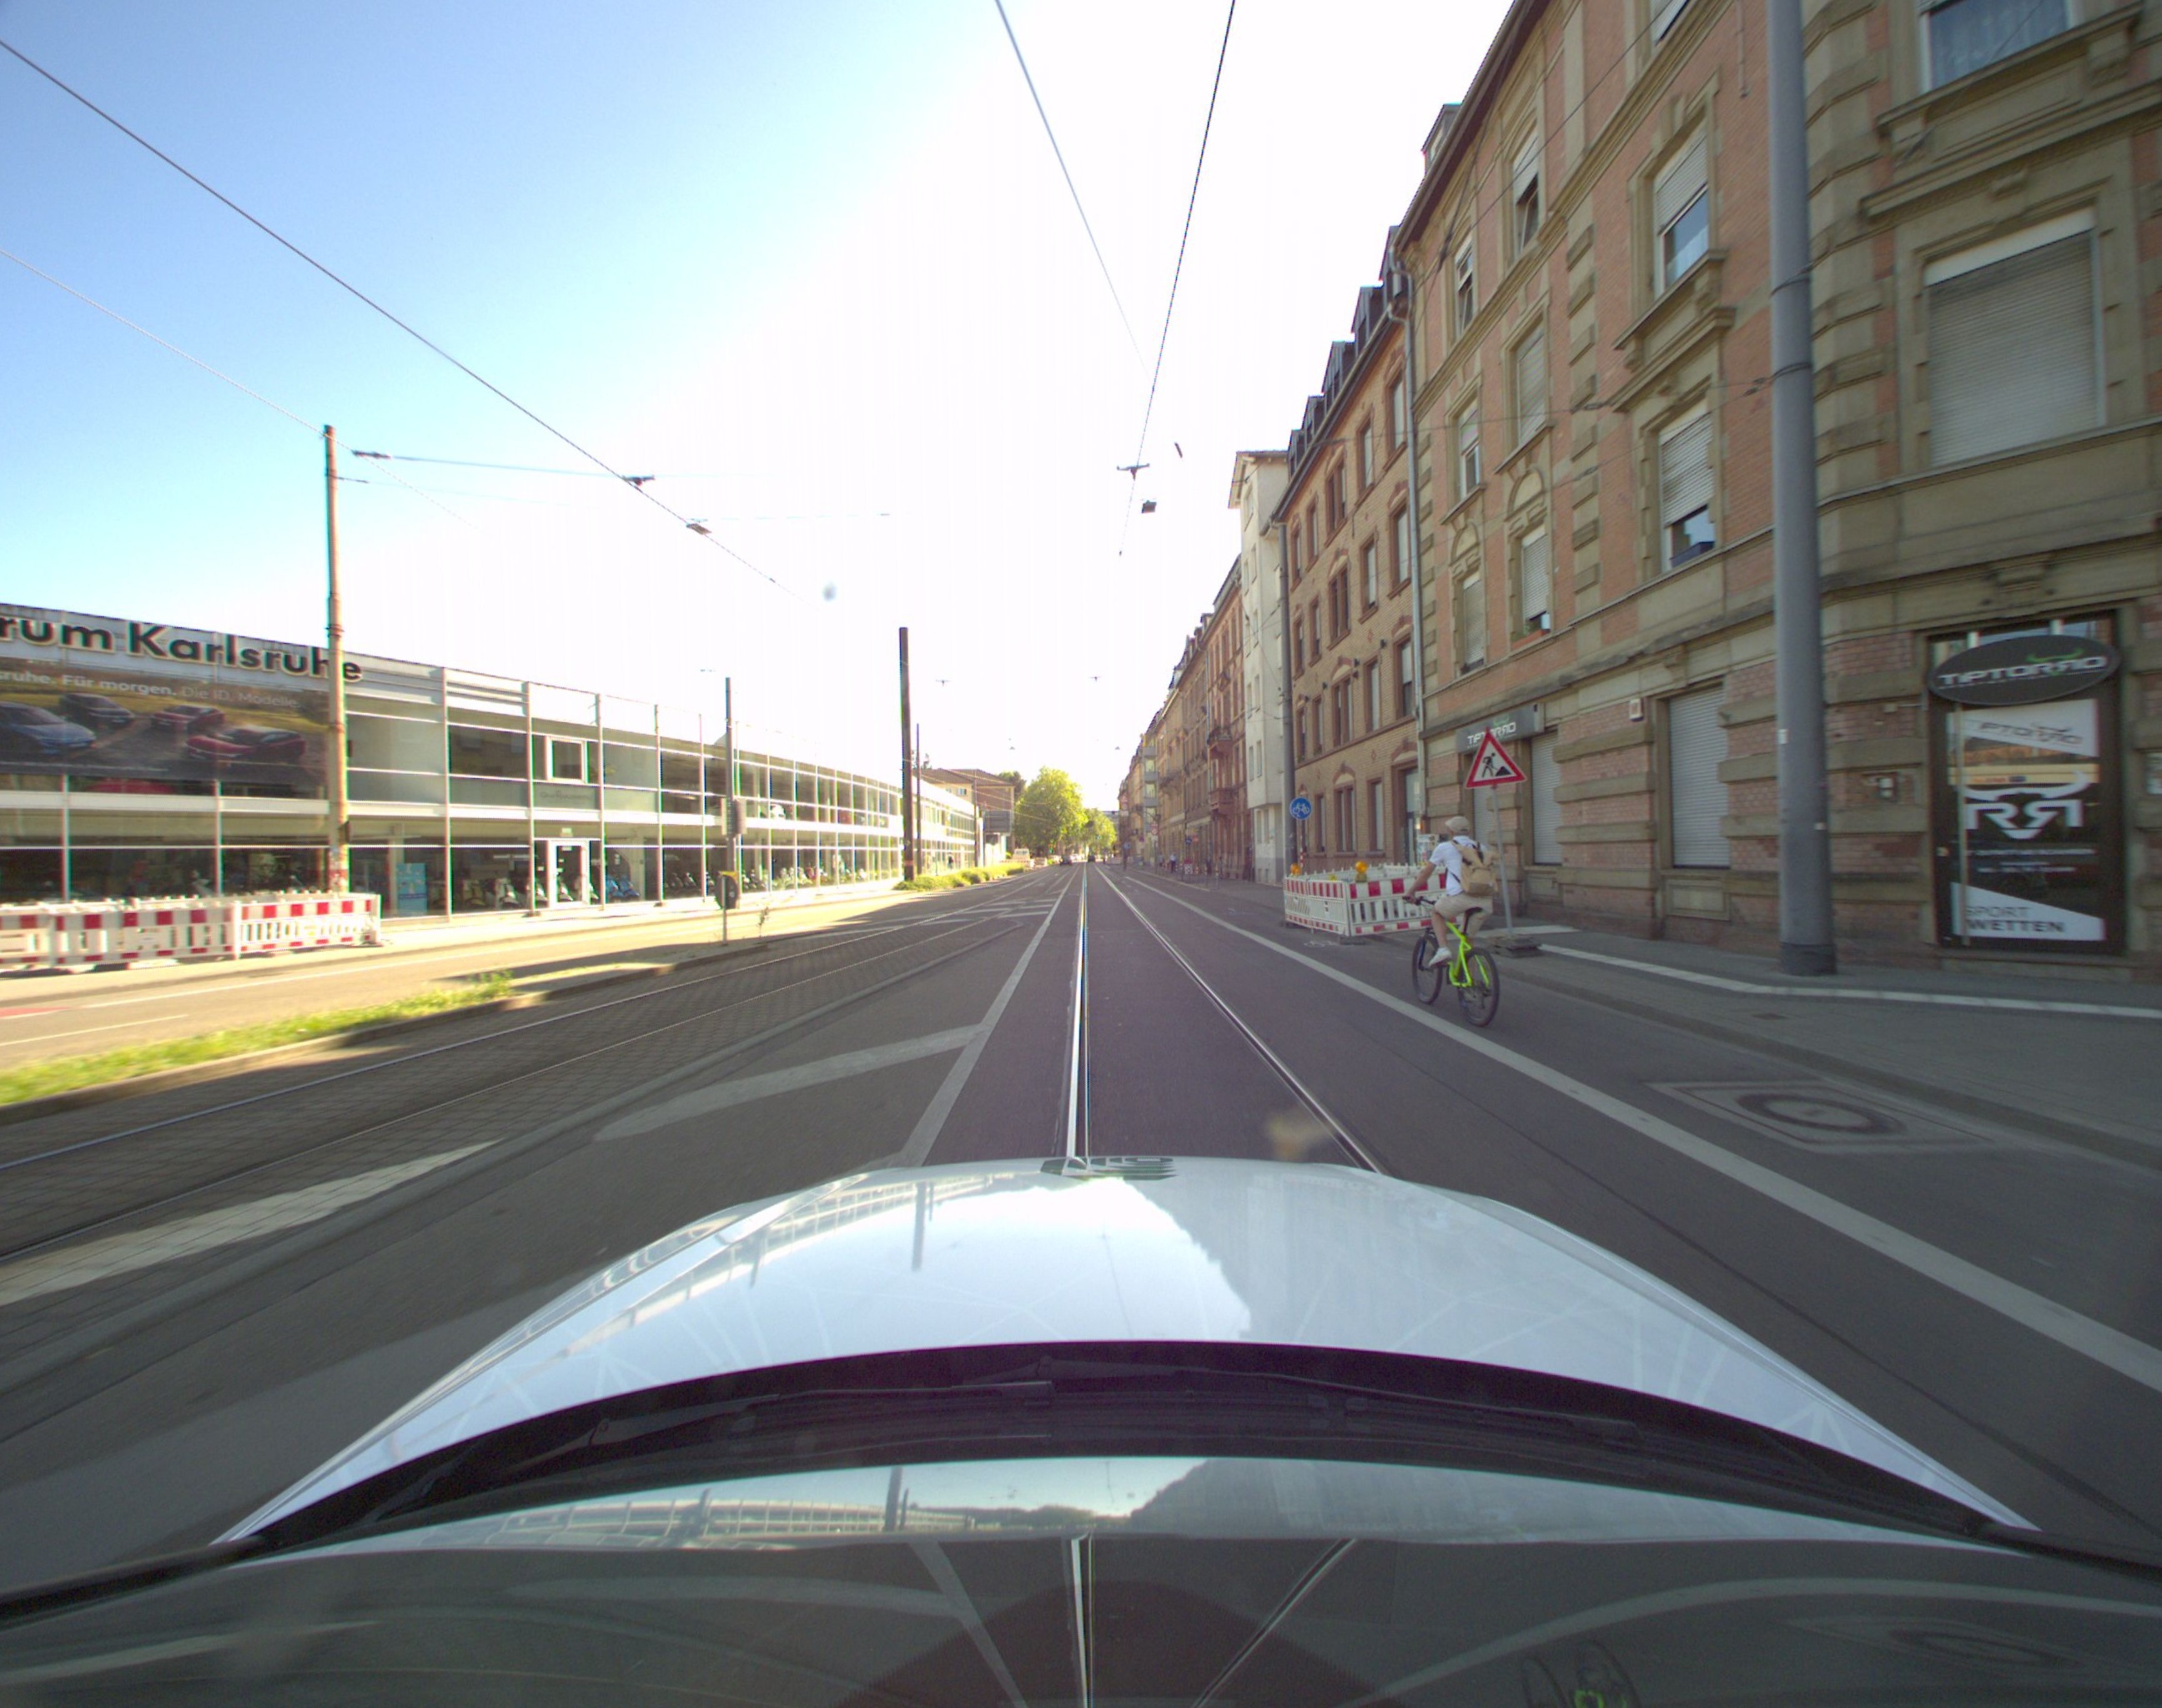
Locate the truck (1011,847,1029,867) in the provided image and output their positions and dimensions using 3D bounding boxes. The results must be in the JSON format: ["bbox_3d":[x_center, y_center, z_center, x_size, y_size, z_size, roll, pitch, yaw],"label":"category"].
[{"bbox_3d":[-9.092,0.453,122.329,2.532,2.830,6.368,0,-1,-3],"label":"truck"}]

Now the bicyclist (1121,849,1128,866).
[{"bbox_3d":[4.365,0.333,82.514,0.665,1.697,1.043,0,-1,0],"label":"bicyclist"}]

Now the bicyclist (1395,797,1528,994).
[{"bbox_3d":[3.482,0.358,7.552,0.679,1.683,1.119,0,-1,-2],"label":"bicyclist"}]

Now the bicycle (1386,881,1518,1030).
[{"bbox_3d":[3.437,0.876,7.723,0.529,1.117,1.937,1,1,6],"label":"bicycle"}]

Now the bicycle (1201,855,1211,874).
[{"bbox_3d":[7.932,0.670,51.674,0.408,1.121,1.900,-3,-1,4],"label":"bicycle"}]

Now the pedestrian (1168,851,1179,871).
[{"bbox_3d":[7.265,0.552,63.883,0.795,1.605,0.652,-1,-1,2],"label":"pedestrian"}]

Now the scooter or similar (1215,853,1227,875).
[{"bbox_3d":[7.819,0.561,45.569,0.405,1.211,1.480,-3,-1,1],"label":"scooter or similar"}]

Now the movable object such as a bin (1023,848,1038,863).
[{"bbox_3d":[-9.487,0.299,153.437,2.489,2.645,5.984,0,0,-2],"label":"movable object such as a bin"}]

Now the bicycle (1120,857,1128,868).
[{"bbox_3d":[4.368,0.860,82.987,0.679,1.114,2.706,0,0,0],"label":"bicycle"}]

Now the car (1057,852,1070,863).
[{"bbox_3d":[-2.728,0.561,125.504,1.752,1.697,4.145,0,-1,1],"label":"car"}]

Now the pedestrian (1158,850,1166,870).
[{"bbox_3d":[6.952,0.494,70.008,0.550,1.701,0.474,-3,-1,5],"label":"pedestrian"}]

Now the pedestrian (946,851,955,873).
[{"bbox_3d":[-10.343,0.622,64.675,0.525,1.765,1.051,0,-1,0],"label":"pedestrian"}]

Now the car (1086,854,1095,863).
[{"bbox_3d":[2.076,1.067,178.643,1.986,2.014,4.000,0,-1,1],"label":"car"}]
